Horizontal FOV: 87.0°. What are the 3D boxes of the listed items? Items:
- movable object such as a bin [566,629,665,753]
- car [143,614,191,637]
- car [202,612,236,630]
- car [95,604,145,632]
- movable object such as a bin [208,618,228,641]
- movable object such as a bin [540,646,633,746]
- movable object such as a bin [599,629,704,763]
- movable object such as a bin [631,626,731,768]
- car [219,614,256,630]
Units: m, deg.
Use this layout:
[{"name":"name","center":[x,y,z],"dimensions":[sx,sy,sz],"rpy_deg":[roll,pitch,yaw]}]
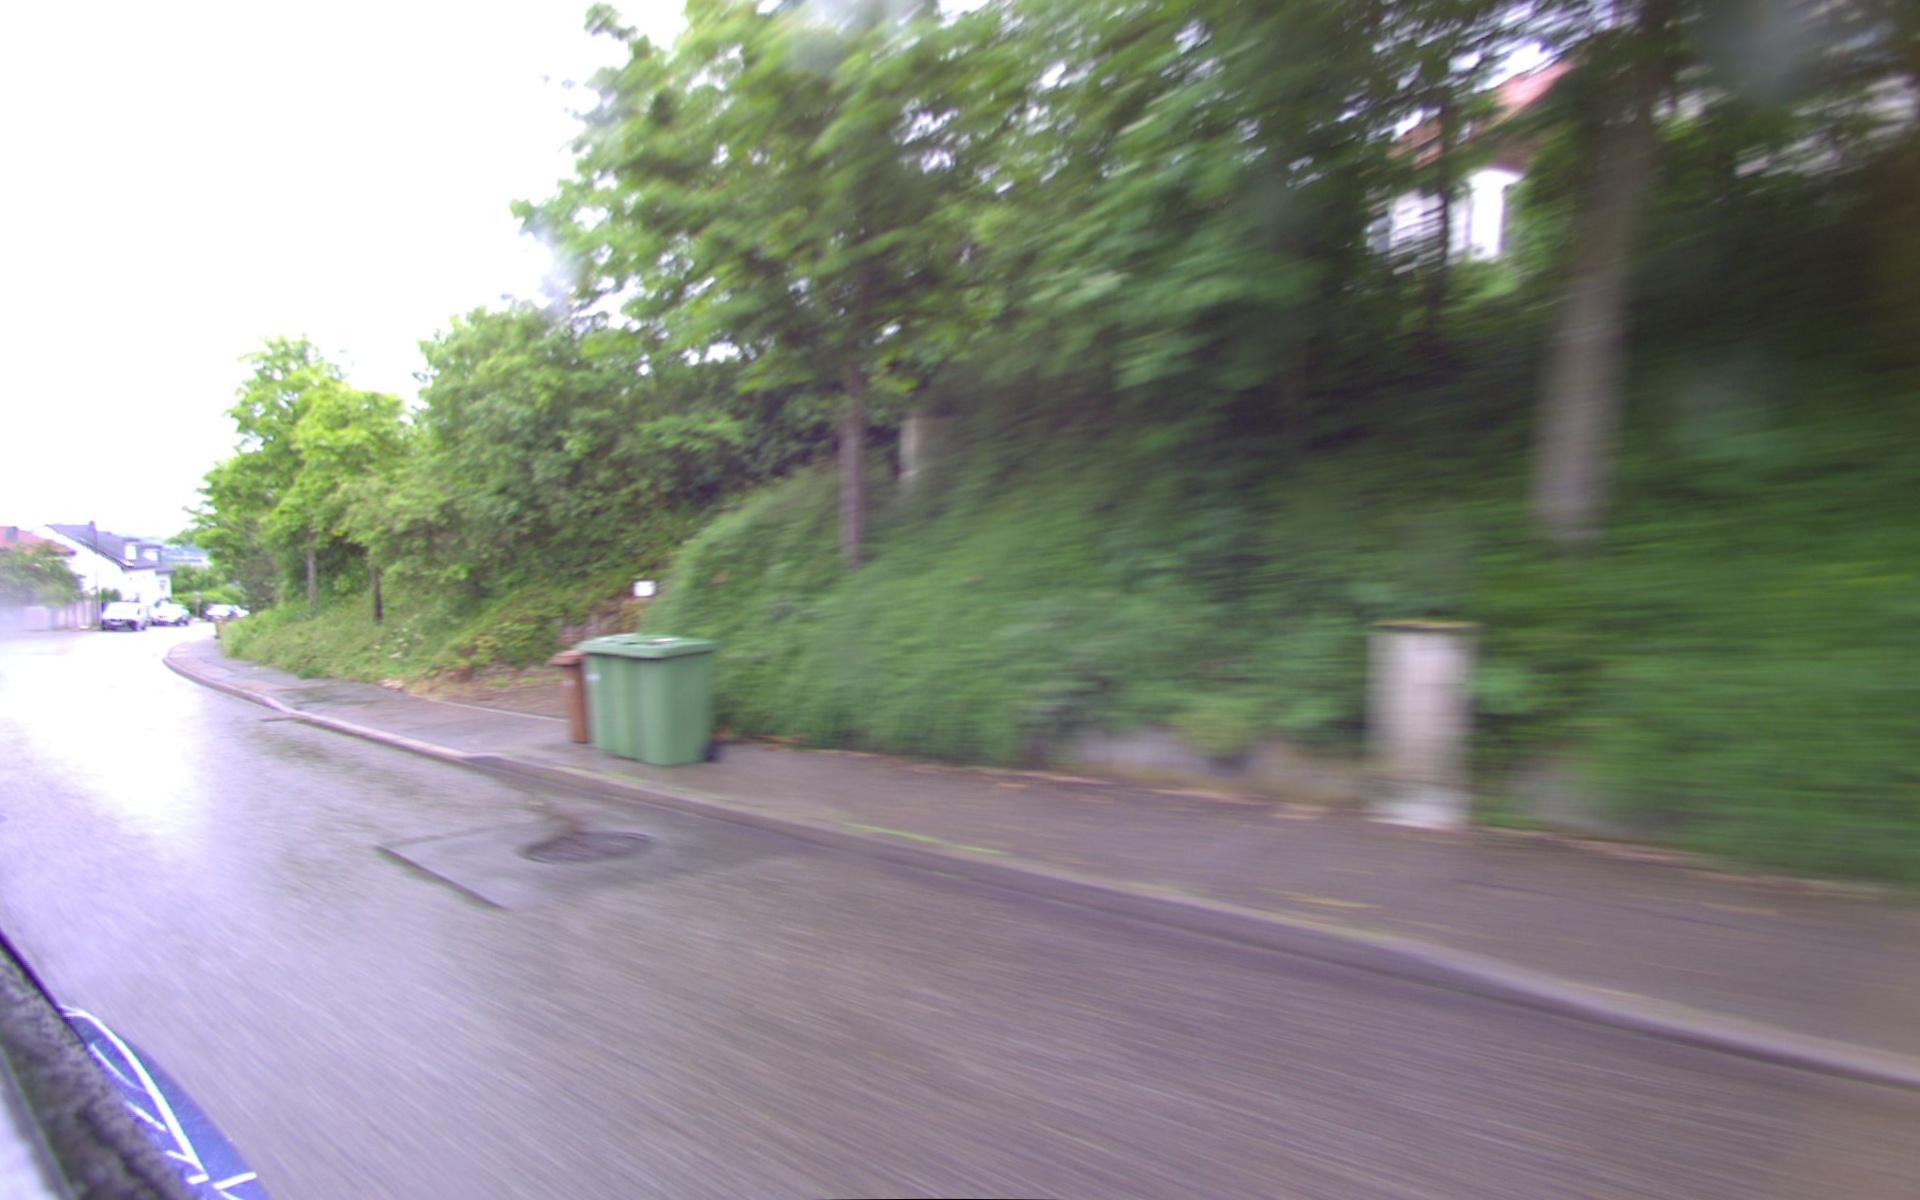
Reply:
[{"name":"movable object such as a bin","center":[-3.238,0.828,9.509],"dimensions":[0.673,1.089,0.641],"rpy_deg":[-1,-1,44]},{"name":"car","center":[-61.673,1.961,78.779],"dimensions":[1.779,1.639,4.302],"rpy_deg":[3,-2,-23]},{"name":"car","center":[-67.711,1.920,92.551],"dimensions":[1.636,1.478,3.776],"rpy_deg":[3,-2,-23]},{"name":"car","center":[-55.485,1.172,66.937],"dimensions":[1.754,1.817,4.721],"rpy_deg":[2,-1,-30]},{"name":"movable object such as a bin","center":[-36.867,1.466,50.303],"dimensions":[0.684,1.099,0.805],"rpy_deg":[-2,-4,-29]},{"name":"movable object such as a bin","center":[-3.736,0.935,10.115],"dimensions":[0.673,0.918,0.641],"rpy_deg":[-1,-1,44]},{"name":"movable object such as a bin","center":[-2.744,0.819,8.998],"dimensions":[0.673,1.112,0.641],"rpy_deg":[-1,-1,44]},{"name":"movable object such as a bin","center":[-2.354,0.791,8.542],"dimensions":[0.505,1.124,0.641],"rpy_deg":[-1,-1,44]},{"name":"car","center":[-69.599,2.111,97.536],"dimensions":[1.743,1.478,4.248],"rpy_deg":[3,-2,-21]}]
